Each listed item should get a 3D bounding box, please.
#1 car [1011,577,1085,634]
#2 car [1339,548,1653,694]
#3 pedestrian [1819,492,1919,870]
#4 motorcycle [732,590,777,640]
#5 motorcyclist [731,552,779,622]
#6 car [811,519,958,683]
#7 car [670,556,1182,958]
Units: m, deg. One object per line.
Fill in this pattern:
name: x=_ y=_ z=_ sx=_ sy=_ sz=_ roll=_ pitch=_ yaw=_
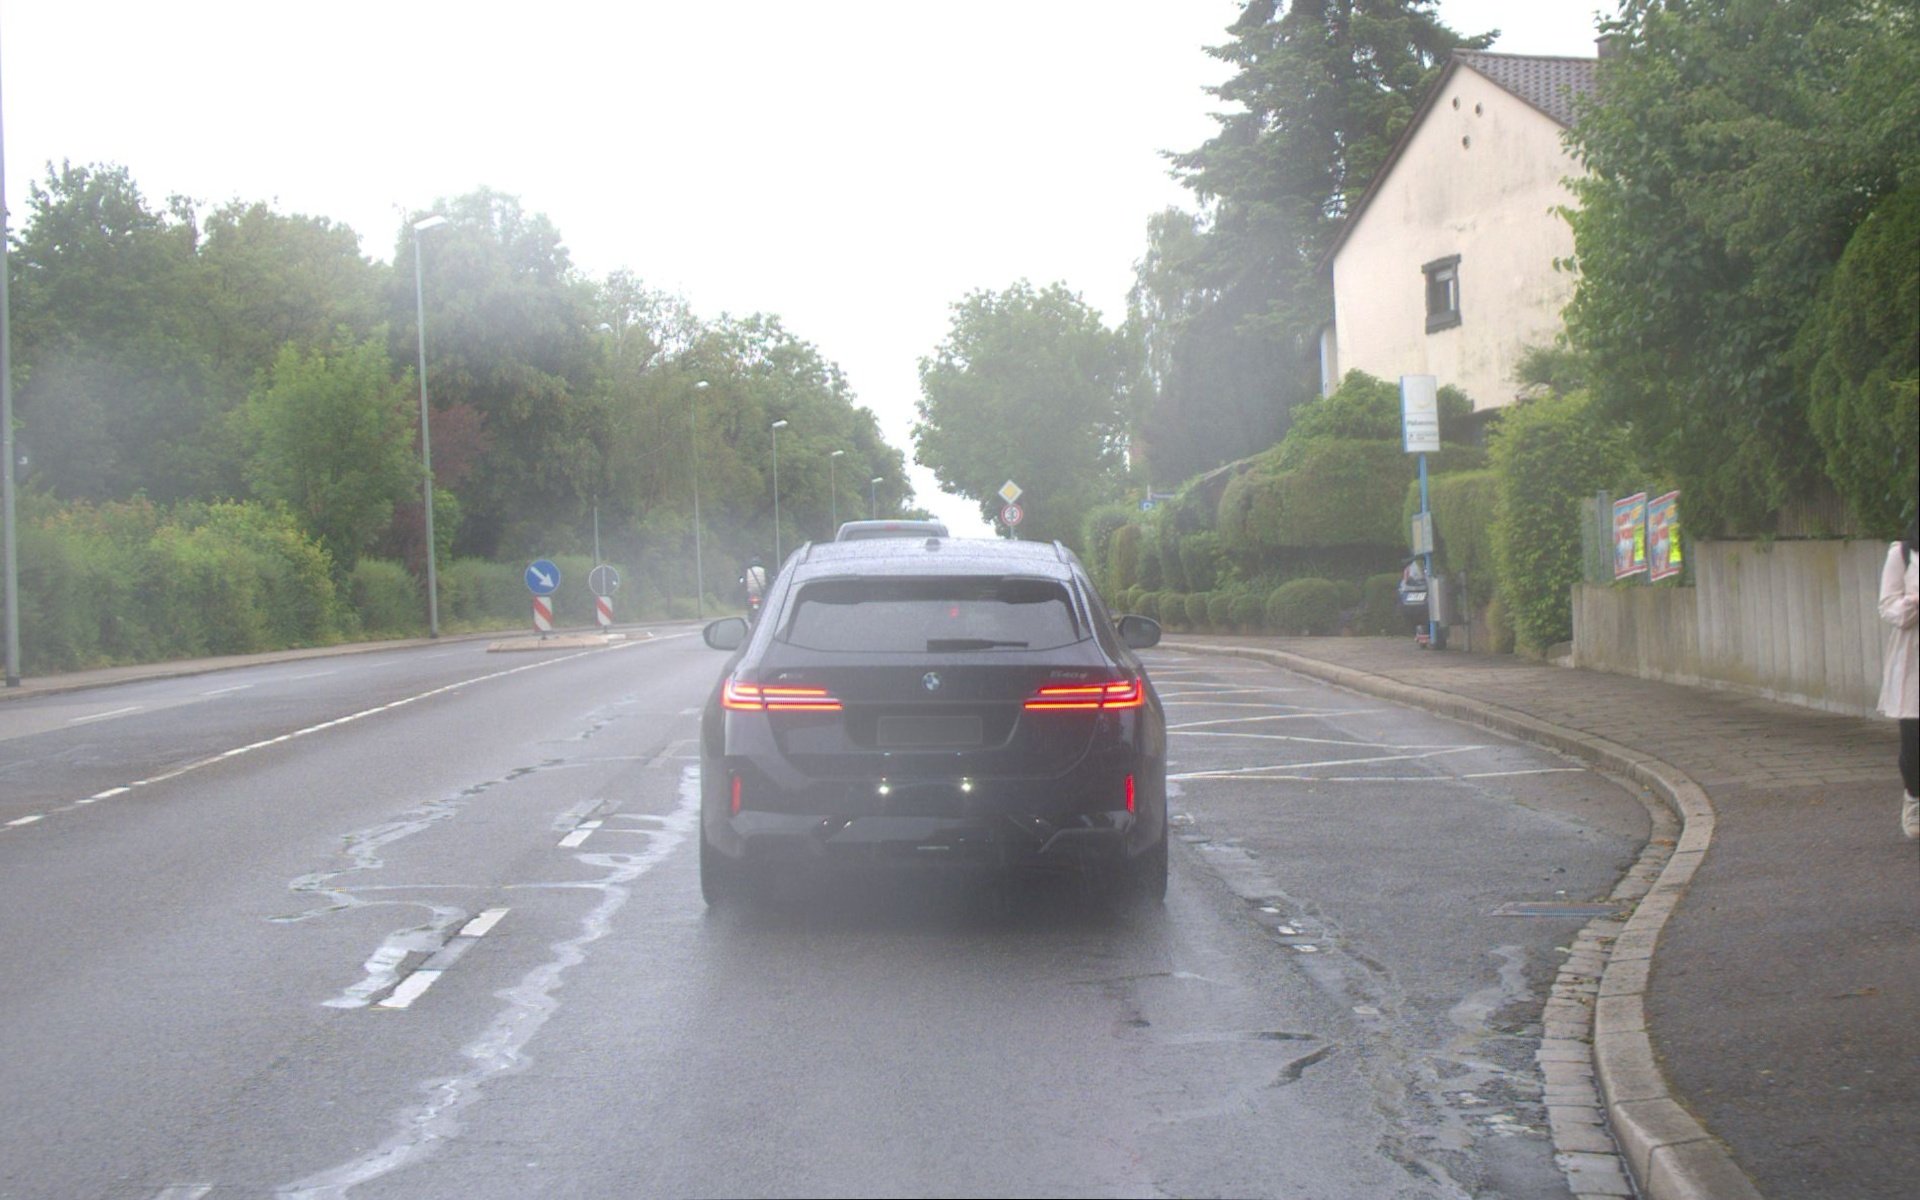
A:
car: x=2.414 y=0.124 z=94.007 sx=1.935 sy=1.437 sz=4.408 roll=-2 pitch=0 yaw=2
car: x=7.314 y=0.322 z=46.941 sx=3.695 sy=1.294 sz=1.773 roll=11 pitch=-6 yaw=-20
pedestrian: x=4.071 y=0.333 z=14.800 sx=0.610 sy=1.588 sz=0.646 roll=-2 pitch=1 yaw=8
motorcycle: x=-4.650 y=0.338 z=77.974 sx=0.876 sy=1.120 sz=2.741 roll=0 pitch=0 yaw=-1
motorcyclist: x=-4.645 y=-0.296 z=77.988 sx=1.039 sy=1.562 sz=0.855 roll=0 pitch=0 yaw=-1
car: x=-0.901 y=-0.013 z=41.673 sx=1.629 sy=1.827 sz=4.000 roll=-2 pitch=1 yaw=-1
car: x=-0.119 y=0.574 z=14.827 sx=1.897 sy=1.484 sz=4.000 roll=1 pitch=0 yaw=0
